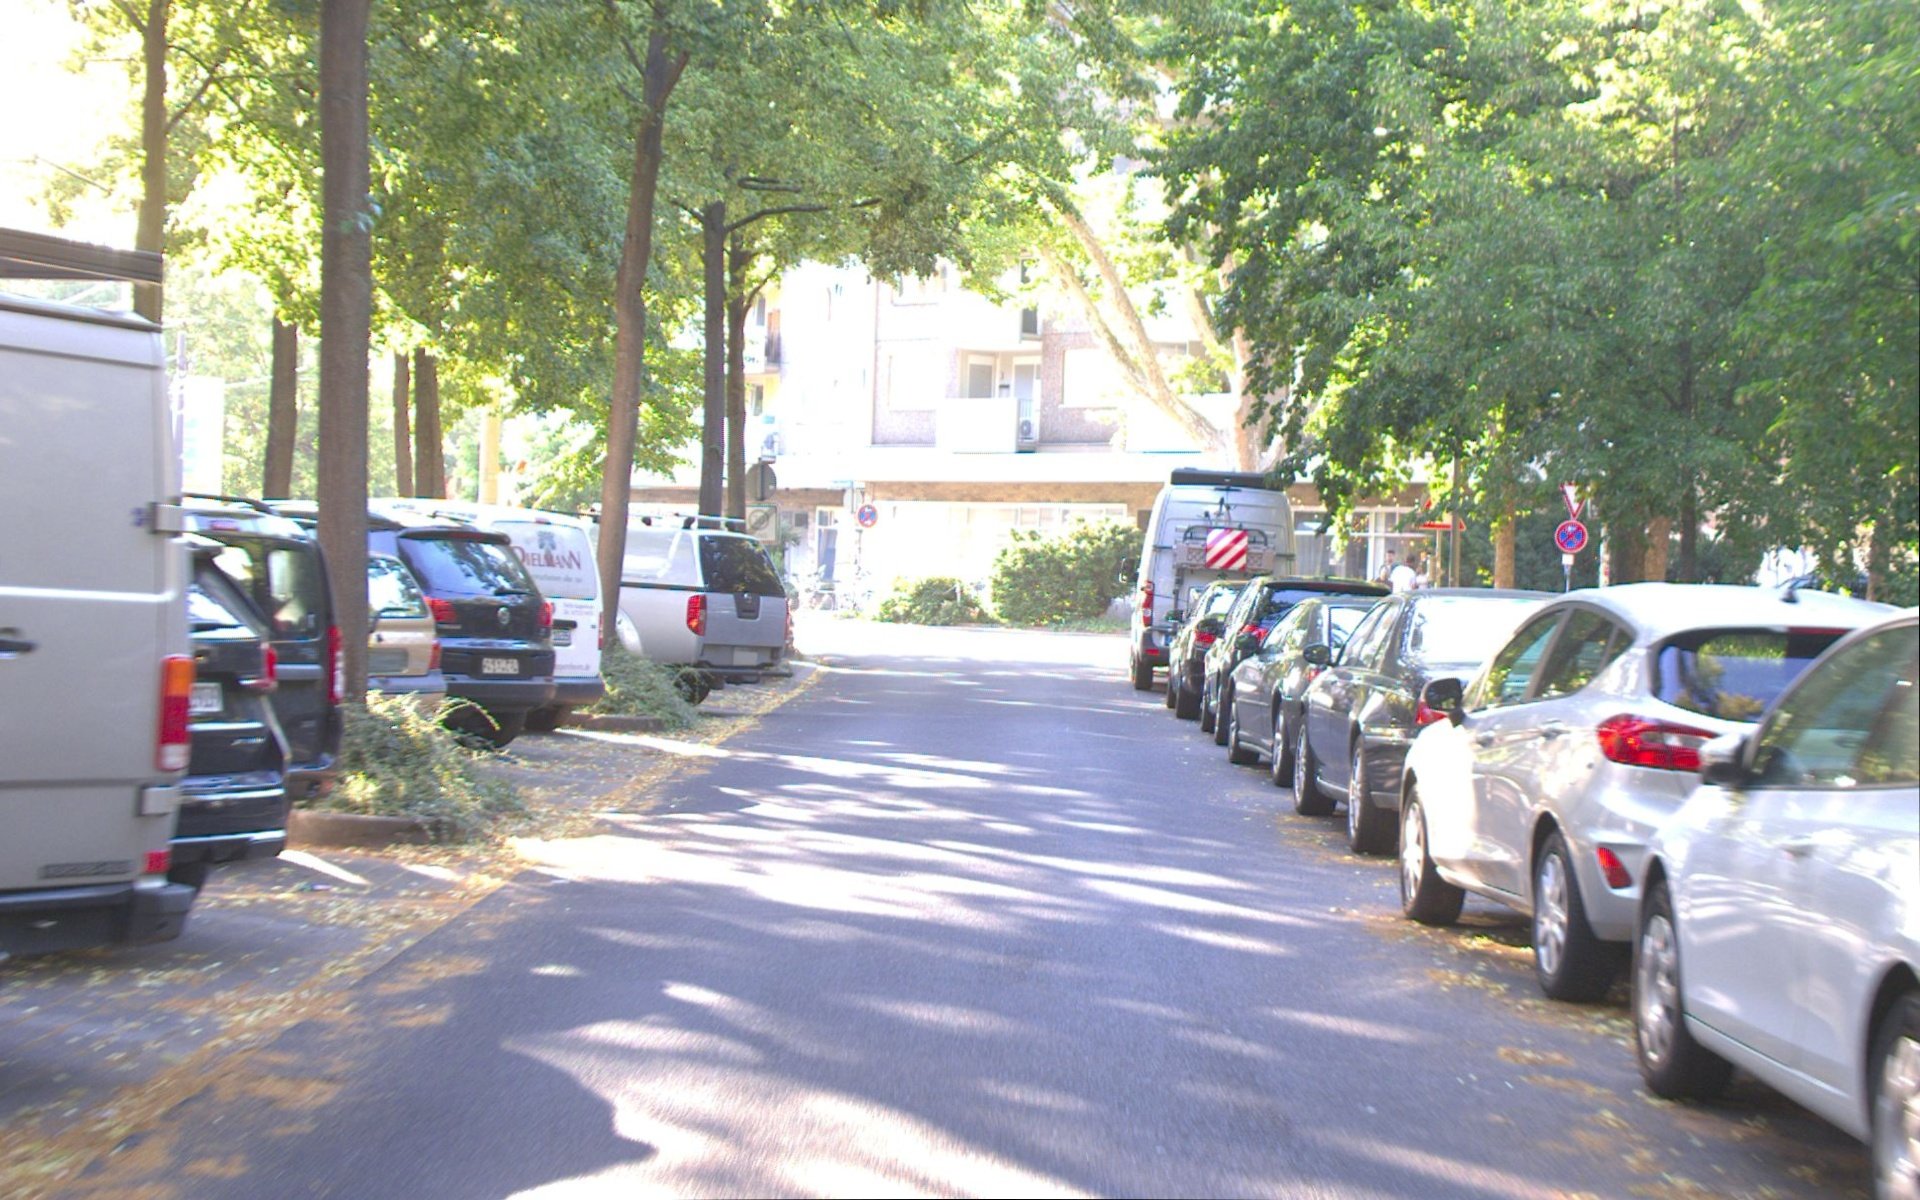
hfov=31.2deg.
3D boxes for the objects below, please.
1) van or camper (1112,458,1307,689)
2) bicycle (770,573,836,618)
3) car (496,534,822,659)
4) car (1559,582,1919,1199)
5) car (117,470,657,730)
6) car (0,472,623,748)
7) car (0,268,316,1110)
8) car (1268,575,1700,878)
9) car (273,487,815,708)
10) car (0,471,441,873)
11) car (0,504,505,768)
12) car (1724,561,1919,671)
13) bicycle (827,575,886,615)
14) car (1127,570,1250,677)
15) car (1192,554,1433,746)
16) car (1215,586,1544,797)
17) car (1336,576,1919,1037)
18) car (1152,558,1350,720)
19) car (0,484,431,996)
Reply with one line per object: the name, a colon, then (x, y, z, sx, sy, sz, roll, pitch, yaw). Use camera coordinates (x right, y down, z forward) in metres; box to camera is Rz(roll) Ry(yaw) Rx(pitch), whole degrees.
van or camper: (3.175, -0.363, 44.870, 2.084, 2.753, 5.845, 2, 1, 1)
bicycle: (-3.835, -0.116, 83.752, 0.638, 1.019, 2.088, 1, 1, -33)
car: (-4.290, -0.050, 48.969, 4.193, 1.434, 1.829, 5, 1, 25)
car: (2.724, 0.724, 8.458, 1.680, 1.449, 4.076, 2, 1, -1)
car: (-4.737, -0.019, 28.210, 4.156, 1.775, 1.880, 5, 1, 36)
car: (-4.744, 0.059, 24.988, 4.155, 1.638, 1.911, 5, 1, 32)
car: (-4.784, 0.033, 10.079, 5.506, 2.130, 2.077, 5, 1, 29)
car: (2.803, 0.608, 19.349, 1.680, 1.419, 4.659, 2, 1, 0)
car: (-4.160, -0.035, 34.207, 4.994, 1.775, 1.984, 5, 1, 28)
car: (-4.854, 0.182, 16.071, 4.513, 1.611, 1.851, 5, 1, 29)
car: (-4.919, 0.201, 22.254, 3.423, 1.421, 1.830, 5, 1, 31)
car: (14.225, 0.265, 53.387, 1.737, 1.547, 4.274, 5, -2, -44)
bicycle: (-2.467, -0.120, 81.801, 0.542, 0.901, 1.736, 1, 1, -34)
car: (3.432, 0.323, 51.831, 1.680, 1.441, 3.871, 4, 1, 3)
car: (3.029, 0.383, 30.290, 1.680, 1.520, 4.287, 2, 1, 1)
car: (2.888, 0.589, 24.505, 1.680, 1.279, 4.288, 2, 1, -1)
car: (2.710, 0.677, 13.365, 1.680, 1.449, 4.077, 2, 1, -5)
car: (2.972, 0.356, 35.868, 1.680, 1.520, 4.489, 2, 1, 1)
car: (-4.463, 0.308, 12.762, 4.511, 1.611, 1.932, 5, 1, 24)
